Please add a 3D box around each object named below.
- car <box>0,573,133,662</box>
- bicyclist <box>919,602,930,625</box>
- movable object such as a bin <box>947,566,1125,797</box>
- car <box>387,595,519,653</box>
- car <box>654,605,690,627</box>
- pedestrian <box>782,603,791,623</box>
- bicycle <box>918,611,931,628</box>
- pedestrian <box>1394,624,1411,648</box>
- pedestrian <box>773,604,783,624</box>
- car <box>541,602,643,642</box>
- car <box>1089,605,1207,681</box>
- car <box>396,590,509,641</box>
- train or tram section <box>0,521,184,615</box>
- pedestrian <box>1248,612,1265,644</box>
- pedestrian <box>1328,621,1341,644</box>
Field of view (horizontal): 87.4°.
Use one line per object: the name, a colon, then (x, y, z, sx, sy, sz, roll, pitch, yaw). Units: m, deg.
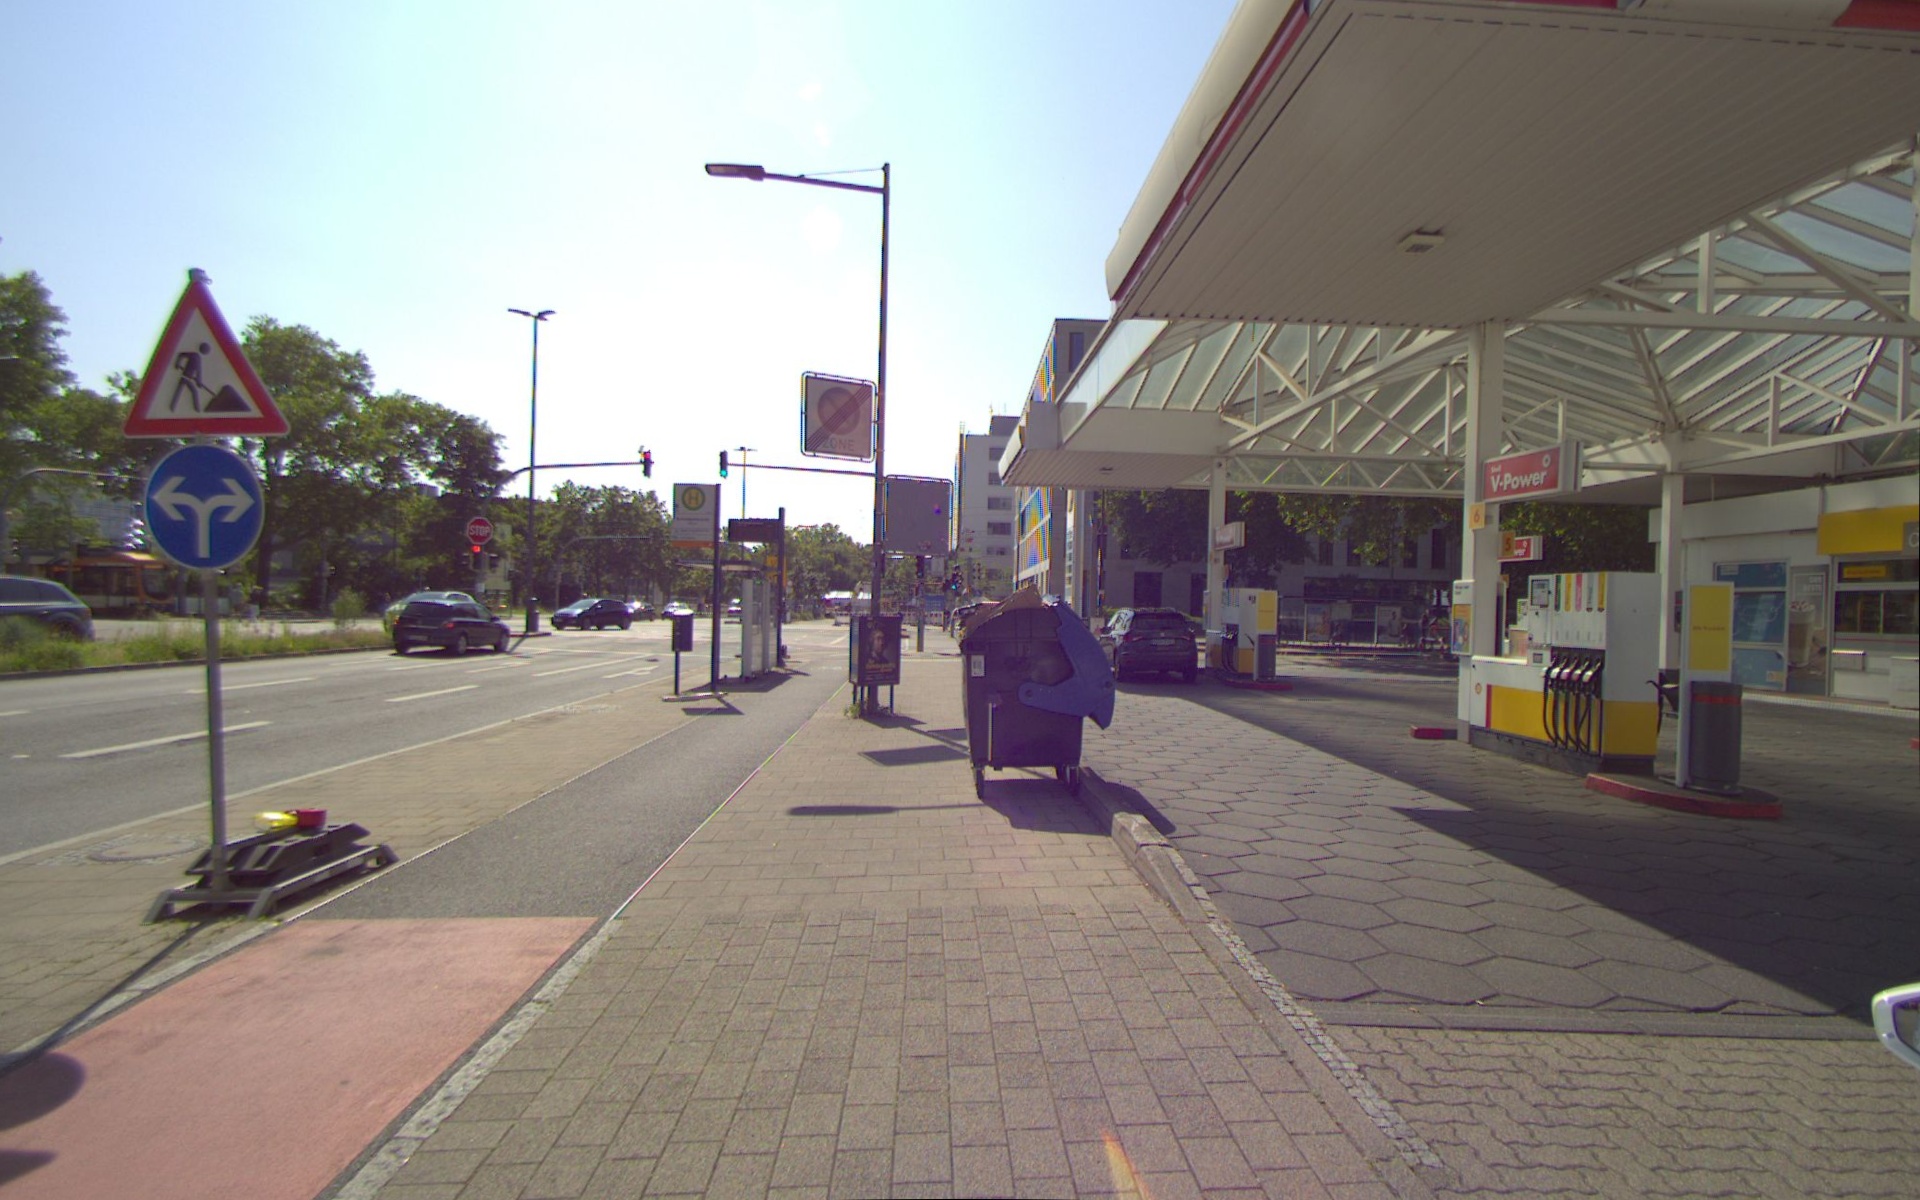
car: (-18.619, 0.343, 18.673, 1.961, 1.632, 5.657, -1, 0, -2)
bicyclist: (-2.538, 0.958, 71.839, 0.628, 1.601, 1.171, 2, 0, -11)
movable object such as a bin: (0.560, 0.615, 8.181, 1.316, 1.710, 1.337, -1, 0, -1)
car: (-13.834, 0.632, 27.677, 1.653, 1.384, 4.001, 3, -1, -2)
car: (-24.312, 1.324, 84.981, 1.961, 1.829, 4.210, 0, -1, -2)
pedestrian: (-13.440, 1.015, 77.814, 0.553, 1.488, 0.514, 2, 0, 8)
bicycle: (-2.561, 1.389, 71.907, 0.628, 1.096, 2.022, 2, 0, -11)
pedestrian: (22.532, 1.828, 51.147, 0.617, 1.153, 0.524, 1, 0, 4)
pedestrian: (-13.947, 1.087, 77.092, 0.554, 1.488, 0.514, 2, 0, 16)
car: (-17.677, 1.059, 48.466, 1.964, 1.792, 4.384, 1, 0, 29)
car: (4.081, 0.905, 22.401, 1.715, 1.552, 3.999, 0, -1, -3)
car: (-19.387, 0.588, 38.622, 1.960, 1.792, 4.392, 2, 0, 2)
train or tram section: (-47.943, -1.662, 51.031, 14.655, 4.549, 2.328, 1, -1, -3)
pedestrian: (14.931, 1.406, 50.608, 0.574, 1.613, 0.670, 2, 1, -3)
pedestrian: (18.976, 1.658, 50.924, 0.490, 1.153, 0.524, 2, 0, 4)
